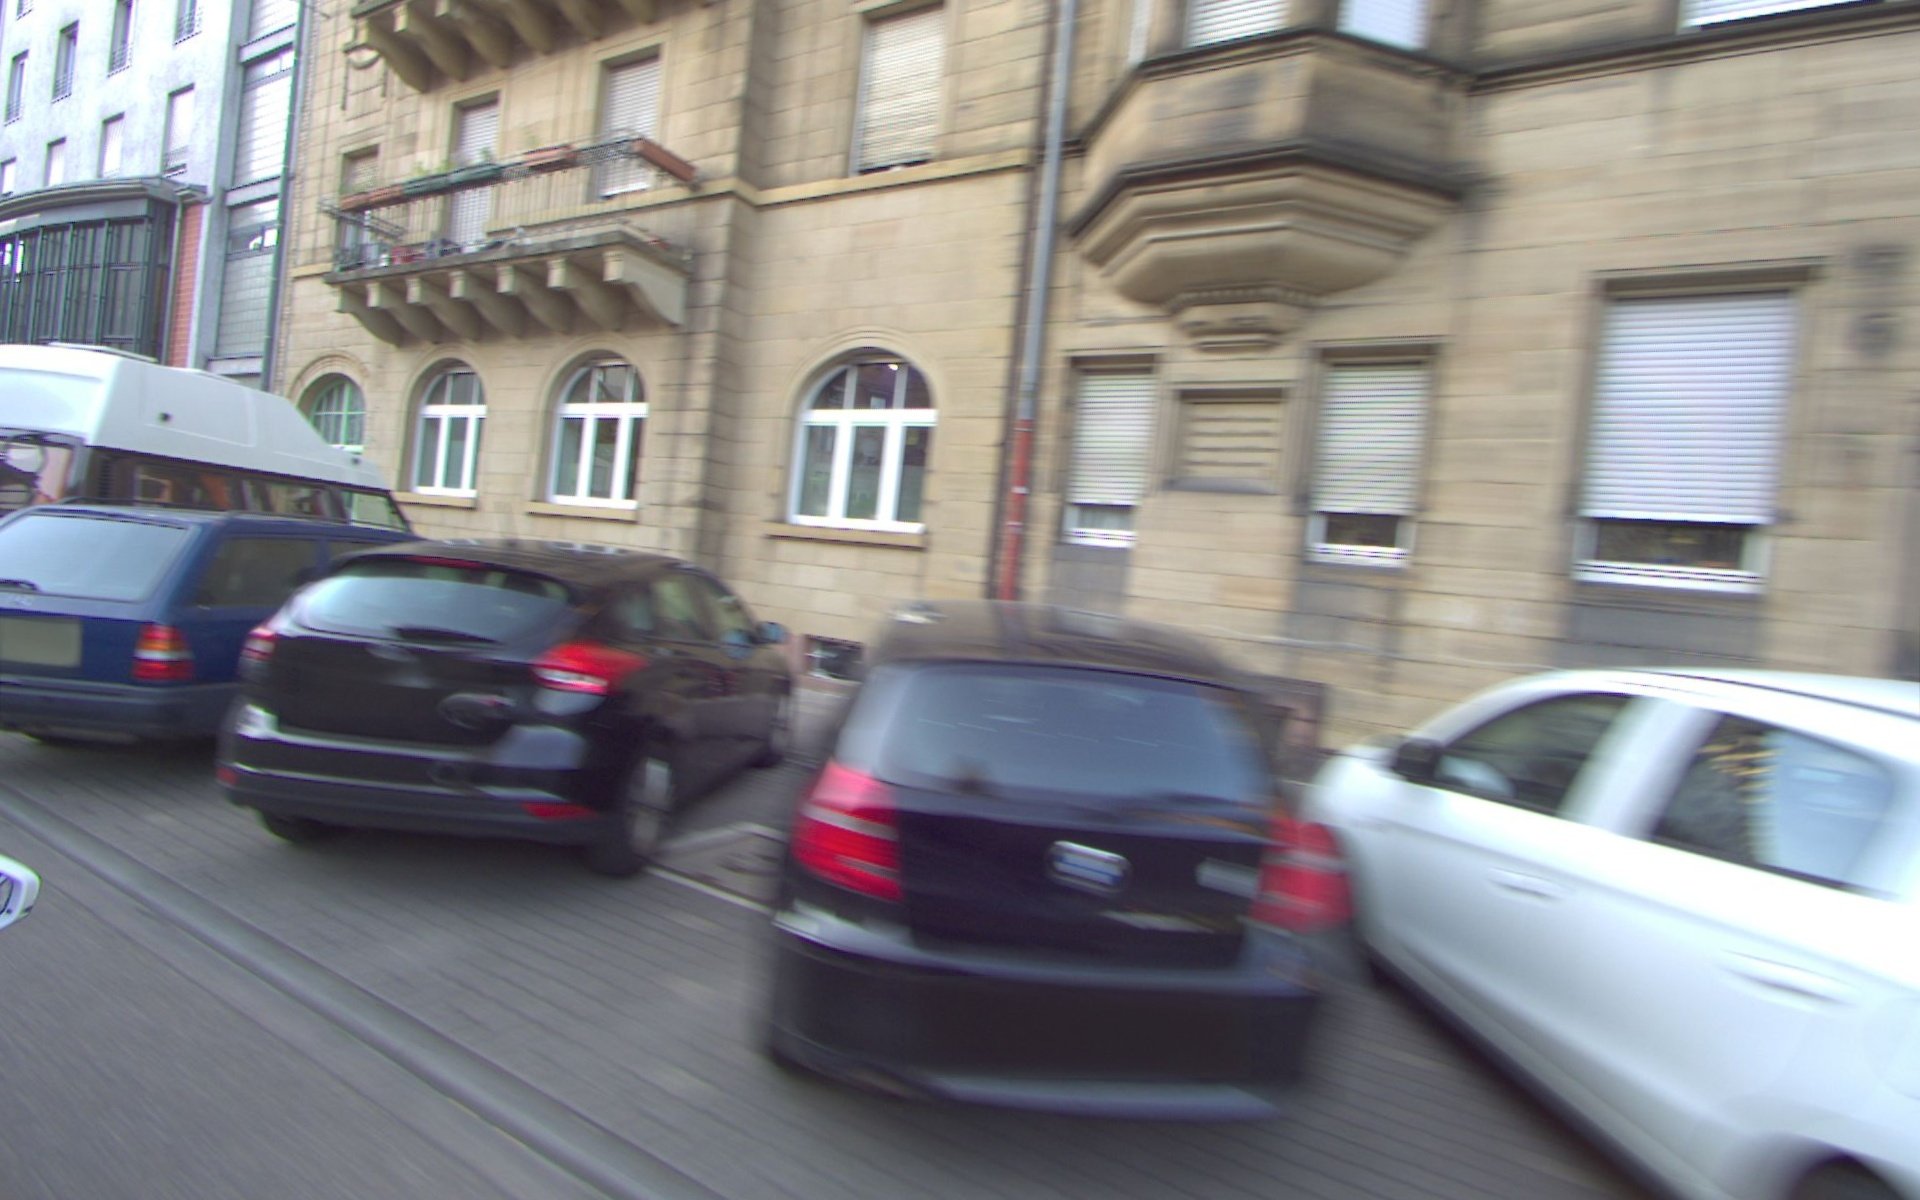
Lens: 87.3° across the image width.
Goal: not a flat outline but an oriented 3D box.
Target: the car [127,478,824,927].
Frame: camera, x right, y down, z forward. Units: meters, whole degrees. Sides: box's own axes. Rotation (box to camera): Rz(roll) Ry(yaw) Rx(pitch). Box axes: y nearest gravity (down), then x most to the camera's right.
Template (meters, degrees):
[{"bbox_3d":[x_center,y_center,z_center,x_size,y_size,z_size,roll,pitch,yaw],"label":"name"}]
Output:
[{"bbox_3d":[-2.137,0.380,5.854,1.761,1.566,4.121,4,0,4],"label":"car"}]

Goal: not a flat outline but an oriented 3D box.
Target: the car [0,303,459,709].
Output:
[{"bbox_3d":[-6.734,-0.635,8.852,1.882,2.578,4.727,6,0,3],"label":"car"}]

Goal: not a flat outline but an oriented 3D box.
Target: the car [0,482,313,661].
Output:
[{"bbox_3d":[-8.974,-0.317,10.035,1.877,1.521,4.358,7,0,4],"label":"car"}]

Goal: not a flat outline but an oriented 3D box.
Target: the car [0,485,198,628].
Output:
[{"bbox_3d":[-10.981,-0.546,11.218,1.692,1.510,4.070,7,0,1],"label":"car"}]

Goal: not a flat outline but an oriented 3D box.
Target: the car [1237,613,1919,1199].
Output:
[{"bbox_3d":[2.497,0.963,3.324,1.722,1.518,4.052,5,2,-3],"label":"car"}]

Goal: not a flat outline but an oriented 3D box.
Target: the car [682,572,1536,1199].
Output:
[{"bbox_3d":[0.273,0.696,4.304,1.834,1.451,4.029,5,2,-2],"label":"car"}]

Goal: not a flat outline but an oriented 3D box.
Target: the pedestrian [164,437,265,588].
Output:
[{"bbox_3d":[-10.709,-1.260,14.455,0.844,2.034,0.609,7,-3,33],"label":"pedestrian"}]

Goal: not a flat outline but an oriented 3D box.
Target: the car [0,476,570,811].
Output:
[{"bbox_3d":[-4.576,0.109,6.985,1.809,1.506,4.395,6,2,2],"label":"car"}]
